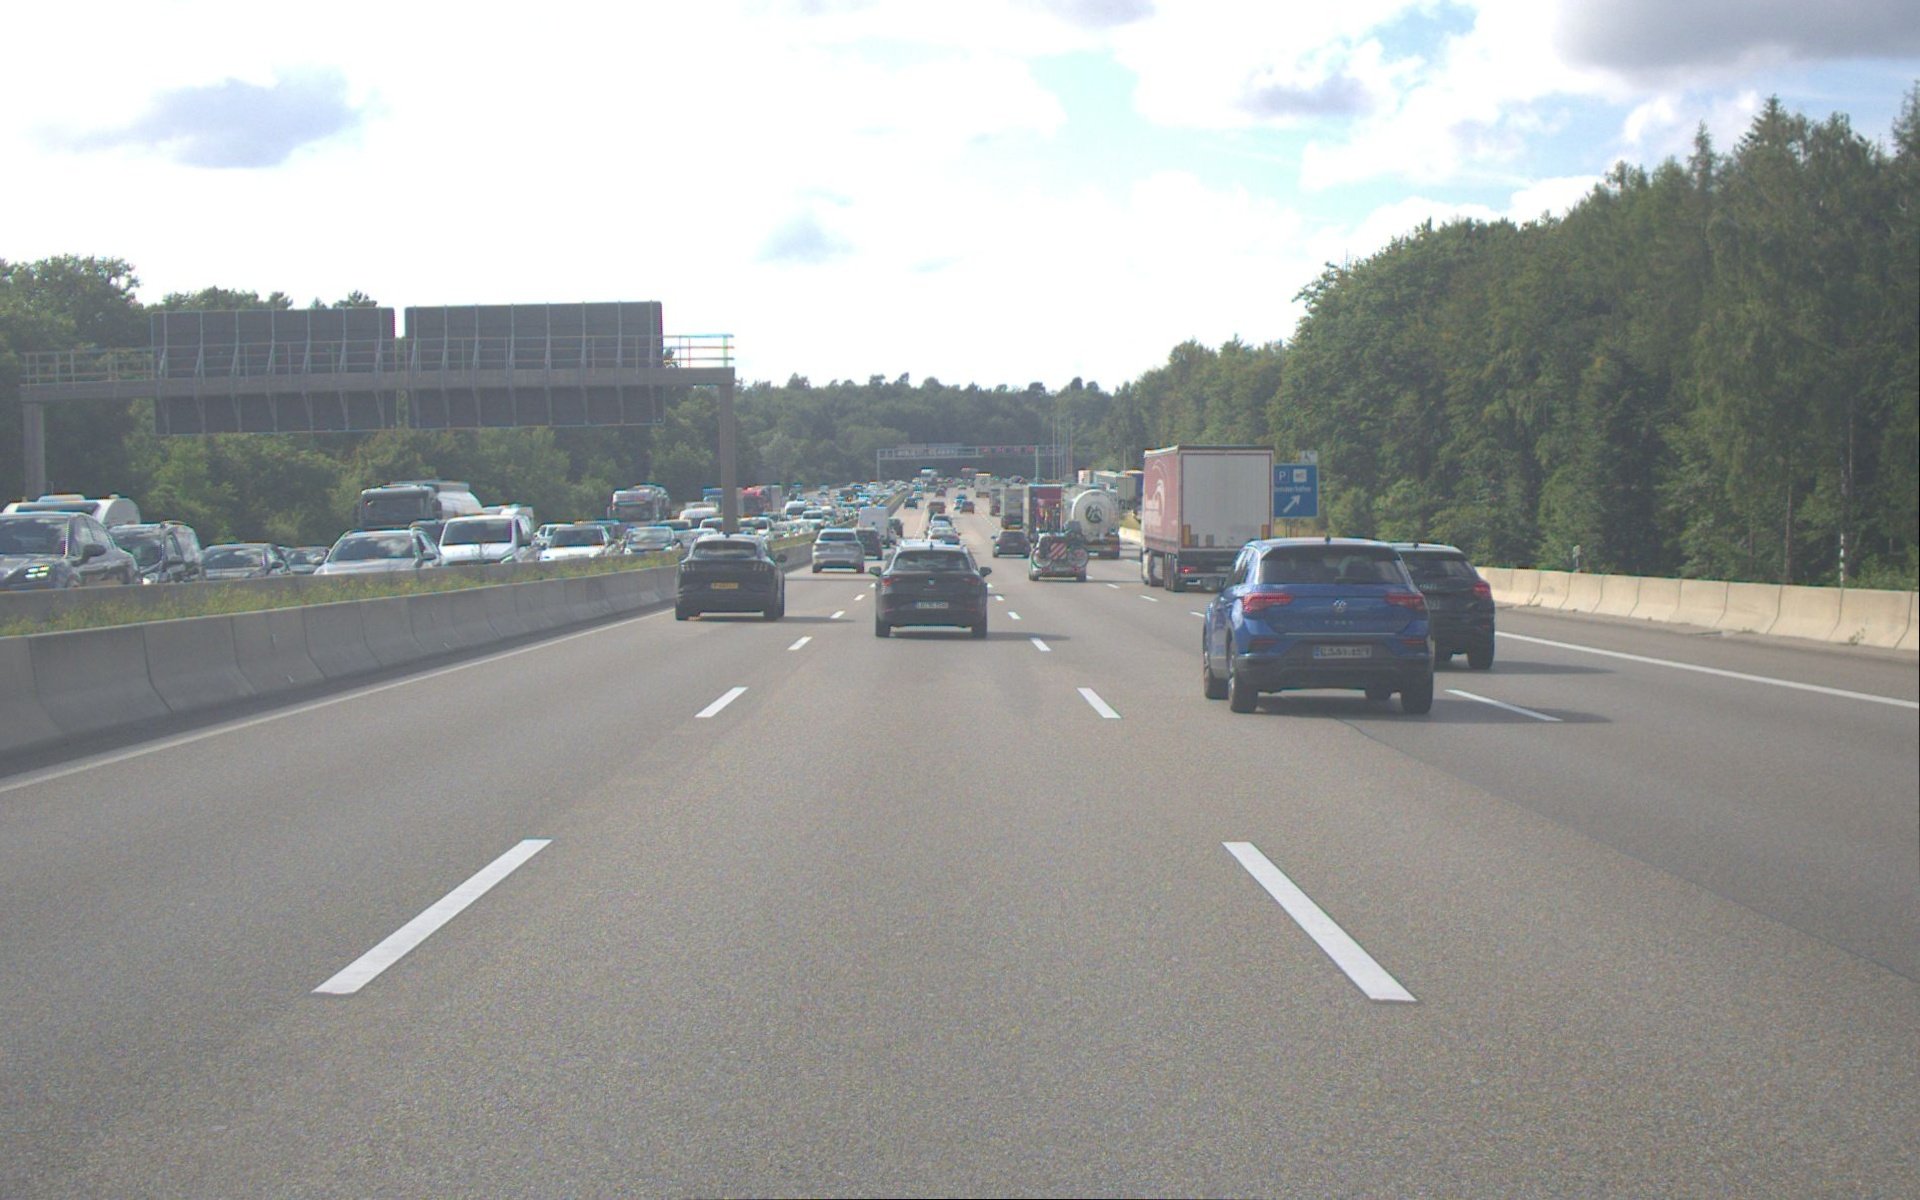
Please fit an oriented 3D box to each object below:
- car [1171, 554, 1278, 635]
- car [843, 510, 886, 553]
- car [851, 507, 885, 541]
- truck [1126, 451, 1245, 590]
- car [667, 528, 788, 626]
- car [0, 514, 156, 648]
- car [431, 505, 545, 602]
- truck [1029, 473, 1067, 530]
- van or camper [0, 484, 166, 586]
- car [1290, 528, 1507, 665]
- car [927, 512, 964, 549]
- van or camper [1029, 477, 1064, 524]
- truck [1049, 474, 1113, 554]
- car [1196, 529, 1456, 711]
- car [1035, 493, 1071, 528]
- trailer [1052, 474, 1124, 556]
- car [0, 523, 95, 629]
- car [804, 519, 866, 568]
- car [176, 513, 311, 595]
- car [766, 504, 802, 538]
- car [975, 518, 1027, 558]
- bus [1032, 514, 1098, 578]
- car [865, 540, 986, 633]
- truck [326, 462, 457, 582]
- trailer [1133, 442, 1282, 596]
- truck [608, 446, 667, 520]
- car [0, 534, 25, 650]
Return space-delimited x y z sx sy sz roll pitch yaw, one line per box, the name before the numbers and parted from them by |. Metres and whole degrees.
car | 5.188 -0.131 67.768 1.715 1.506 4.302 -1 1 -1
car | -4.642 -3.323 167.824 1.993 2.007 4.000 1 0 -1
car | -5.684 -4.693 212.215 1.993 2.007 4.000 1 0 -1
truck | 6.797 -2.378 104.332 3.080 4.049 6.070 1 0 -1
car | -4.306 -0.454 64.142 1.993 1.770 4.000 0 1 0
car | -10.314 -0.242 37.894 1.832 1.383 4.904 0 1 -1
car | -10.483 -1.064 76.712 1.832 2.055 5.501 -1 1 -1
truck | 5.918 -6.597 231.754 2.358 3.560 11.266 1 0 1
van or camper | -18.084 -1.346 70.986 2.283 2.004 4.688 1 1 0
car | 5.341 -0.064 42.510 1.993 1.569 5.278 1 0 0
car | -0.837 -3.861 192.521 1.993 2.007 4.000 -1 0 -1
van or camper | 6.017 -6.886 239.400 2.351 3.133 5.710 1 0 1
truck | 6.375 -4.535 181.917 3.045 4.146 7.127 0 1 0
car | 3.264 0.161 31.472 1.924 1.536 4.645 0 0 1
car | 5.584 -5.380 207.542 1.993 2.007 4.000 1 0 -1
trailer | 6.454 -4.304 175.208 3.036 4.002 12.246 0 1 -1
car | -17.732 -0.489 64.687 1.832 1.909 4.482 1 1 -1
car | -4.700 -2.136 129.720 2.154 1.770 4.000 1 1 0
car | -14.194 -0.932 68.306 1.832 1.532 4.243 1 1 -1
car | -10.776 -4.828 210.612 1.993 2.007 4.410 0 0 0
car | 2.087 -3.175 176.267 1.993 2.007 4.001 1 1 -9
bus | 3.397 -1.752 111.858 1.993 2.007 4.000 1 0 0
car | -0.582 -0.232 54.125 1.734 1.360 4.001 1 1 -3
truck | -18.915 -2.602 114.815 3.416 3.887 6.802 0 1 -1
trailer | 6.860 -2.201 97.464 3.038 4.021 13.891 1 0 -1
truck | -18.872 -6.823 201.579 2.853 4.219 5.713 1 1 0
car | -14.649 -0.105 48.495 1.832 1.654 4.272 0 1 -1
